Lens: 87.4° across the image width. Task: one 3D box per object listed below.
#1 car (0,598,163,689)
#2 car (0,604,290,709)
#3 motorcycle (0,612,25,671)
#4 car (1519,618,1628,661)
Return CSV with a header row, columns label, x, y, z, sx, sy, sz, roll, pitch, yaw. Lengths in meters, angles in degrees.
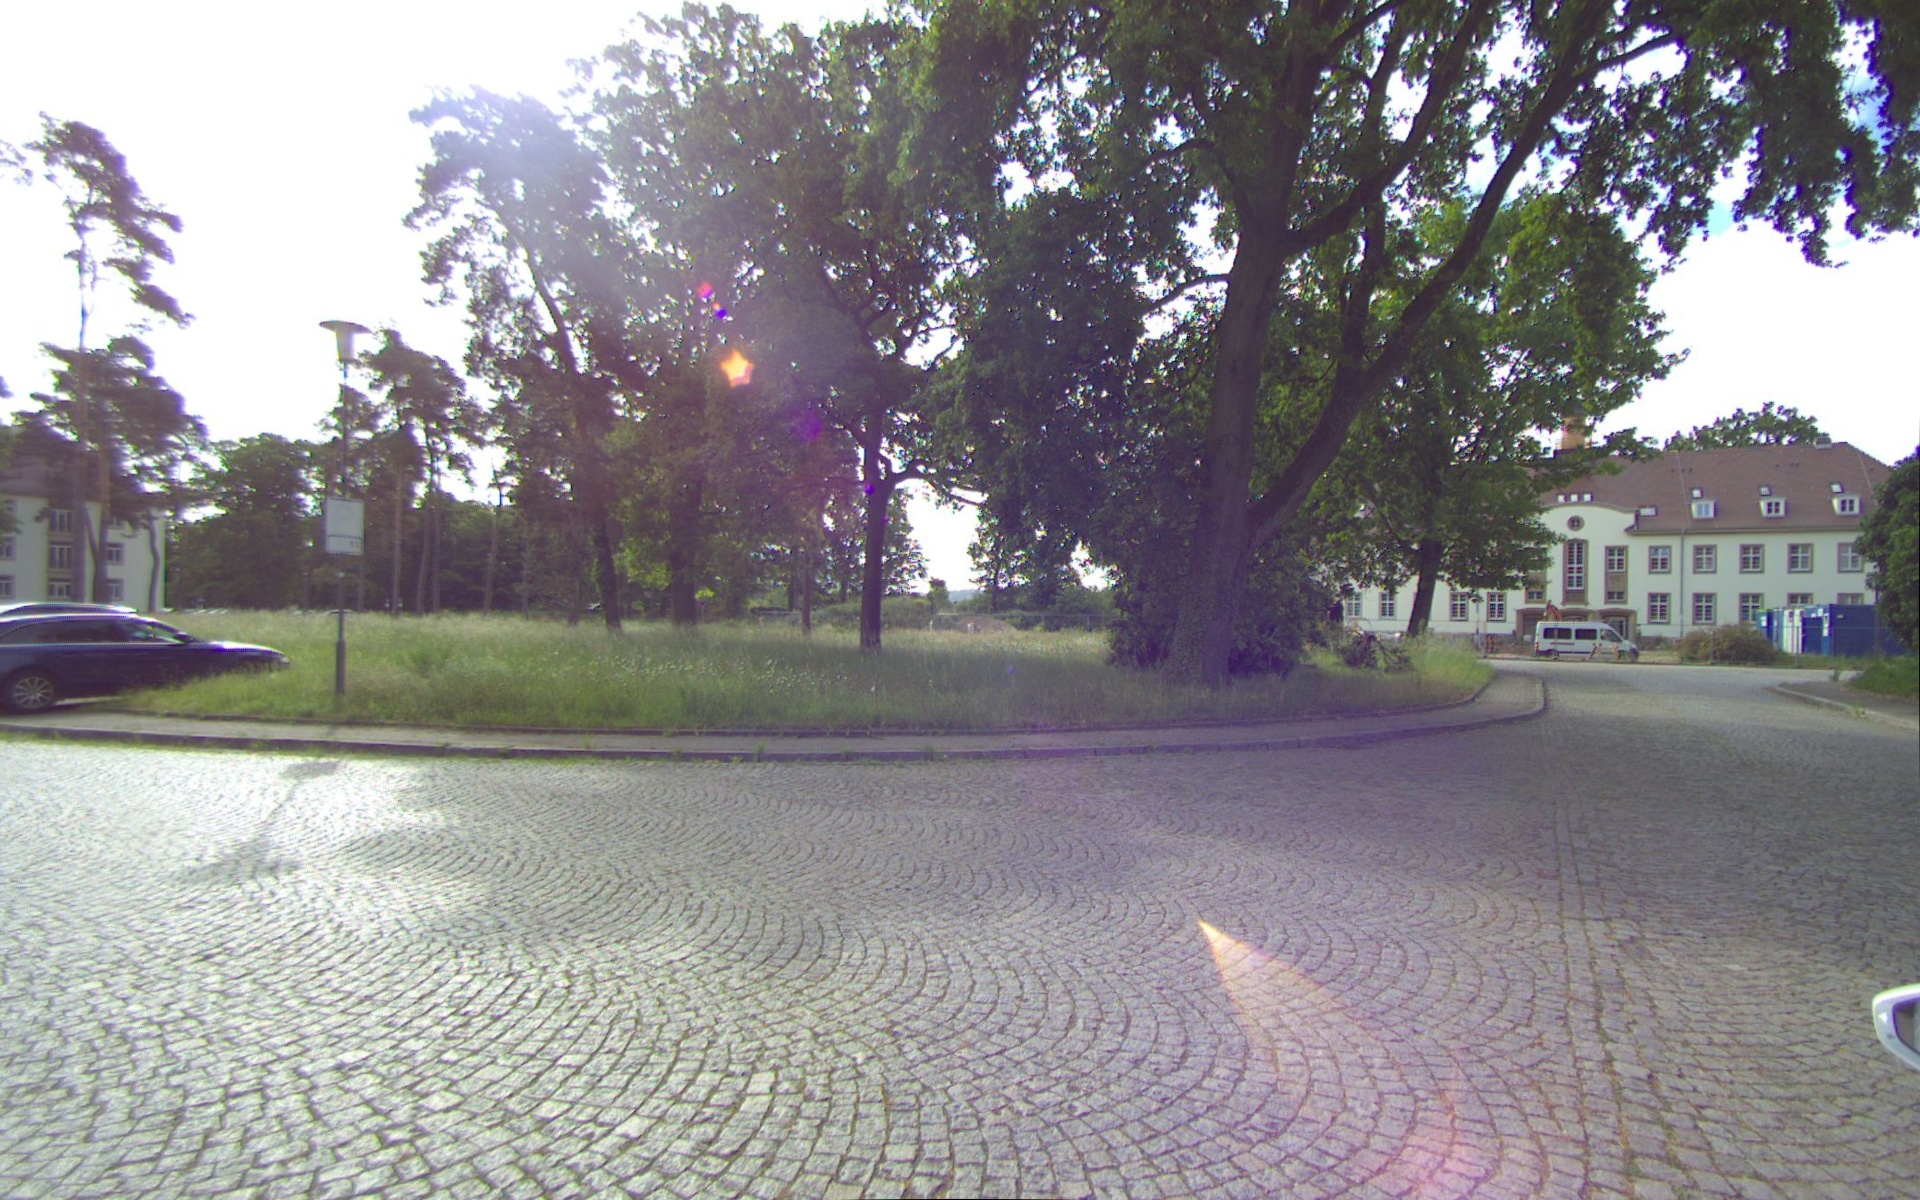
label,x,y,z,sx,sy,sz,roll,pitch,yaw
car,-17.553,0.770,18.488,1.758,1.594,4.145,1,0,29
car,-13.527,0.826,16.037,1.653,1.499,4.433,0,-1,33
motorcycle,-22.151,0.917,21.971,0.730,1.305,2.359,0,-1,30
car,36.736,2.302,60.301,5.434,2.237,2.121,1,2,31
